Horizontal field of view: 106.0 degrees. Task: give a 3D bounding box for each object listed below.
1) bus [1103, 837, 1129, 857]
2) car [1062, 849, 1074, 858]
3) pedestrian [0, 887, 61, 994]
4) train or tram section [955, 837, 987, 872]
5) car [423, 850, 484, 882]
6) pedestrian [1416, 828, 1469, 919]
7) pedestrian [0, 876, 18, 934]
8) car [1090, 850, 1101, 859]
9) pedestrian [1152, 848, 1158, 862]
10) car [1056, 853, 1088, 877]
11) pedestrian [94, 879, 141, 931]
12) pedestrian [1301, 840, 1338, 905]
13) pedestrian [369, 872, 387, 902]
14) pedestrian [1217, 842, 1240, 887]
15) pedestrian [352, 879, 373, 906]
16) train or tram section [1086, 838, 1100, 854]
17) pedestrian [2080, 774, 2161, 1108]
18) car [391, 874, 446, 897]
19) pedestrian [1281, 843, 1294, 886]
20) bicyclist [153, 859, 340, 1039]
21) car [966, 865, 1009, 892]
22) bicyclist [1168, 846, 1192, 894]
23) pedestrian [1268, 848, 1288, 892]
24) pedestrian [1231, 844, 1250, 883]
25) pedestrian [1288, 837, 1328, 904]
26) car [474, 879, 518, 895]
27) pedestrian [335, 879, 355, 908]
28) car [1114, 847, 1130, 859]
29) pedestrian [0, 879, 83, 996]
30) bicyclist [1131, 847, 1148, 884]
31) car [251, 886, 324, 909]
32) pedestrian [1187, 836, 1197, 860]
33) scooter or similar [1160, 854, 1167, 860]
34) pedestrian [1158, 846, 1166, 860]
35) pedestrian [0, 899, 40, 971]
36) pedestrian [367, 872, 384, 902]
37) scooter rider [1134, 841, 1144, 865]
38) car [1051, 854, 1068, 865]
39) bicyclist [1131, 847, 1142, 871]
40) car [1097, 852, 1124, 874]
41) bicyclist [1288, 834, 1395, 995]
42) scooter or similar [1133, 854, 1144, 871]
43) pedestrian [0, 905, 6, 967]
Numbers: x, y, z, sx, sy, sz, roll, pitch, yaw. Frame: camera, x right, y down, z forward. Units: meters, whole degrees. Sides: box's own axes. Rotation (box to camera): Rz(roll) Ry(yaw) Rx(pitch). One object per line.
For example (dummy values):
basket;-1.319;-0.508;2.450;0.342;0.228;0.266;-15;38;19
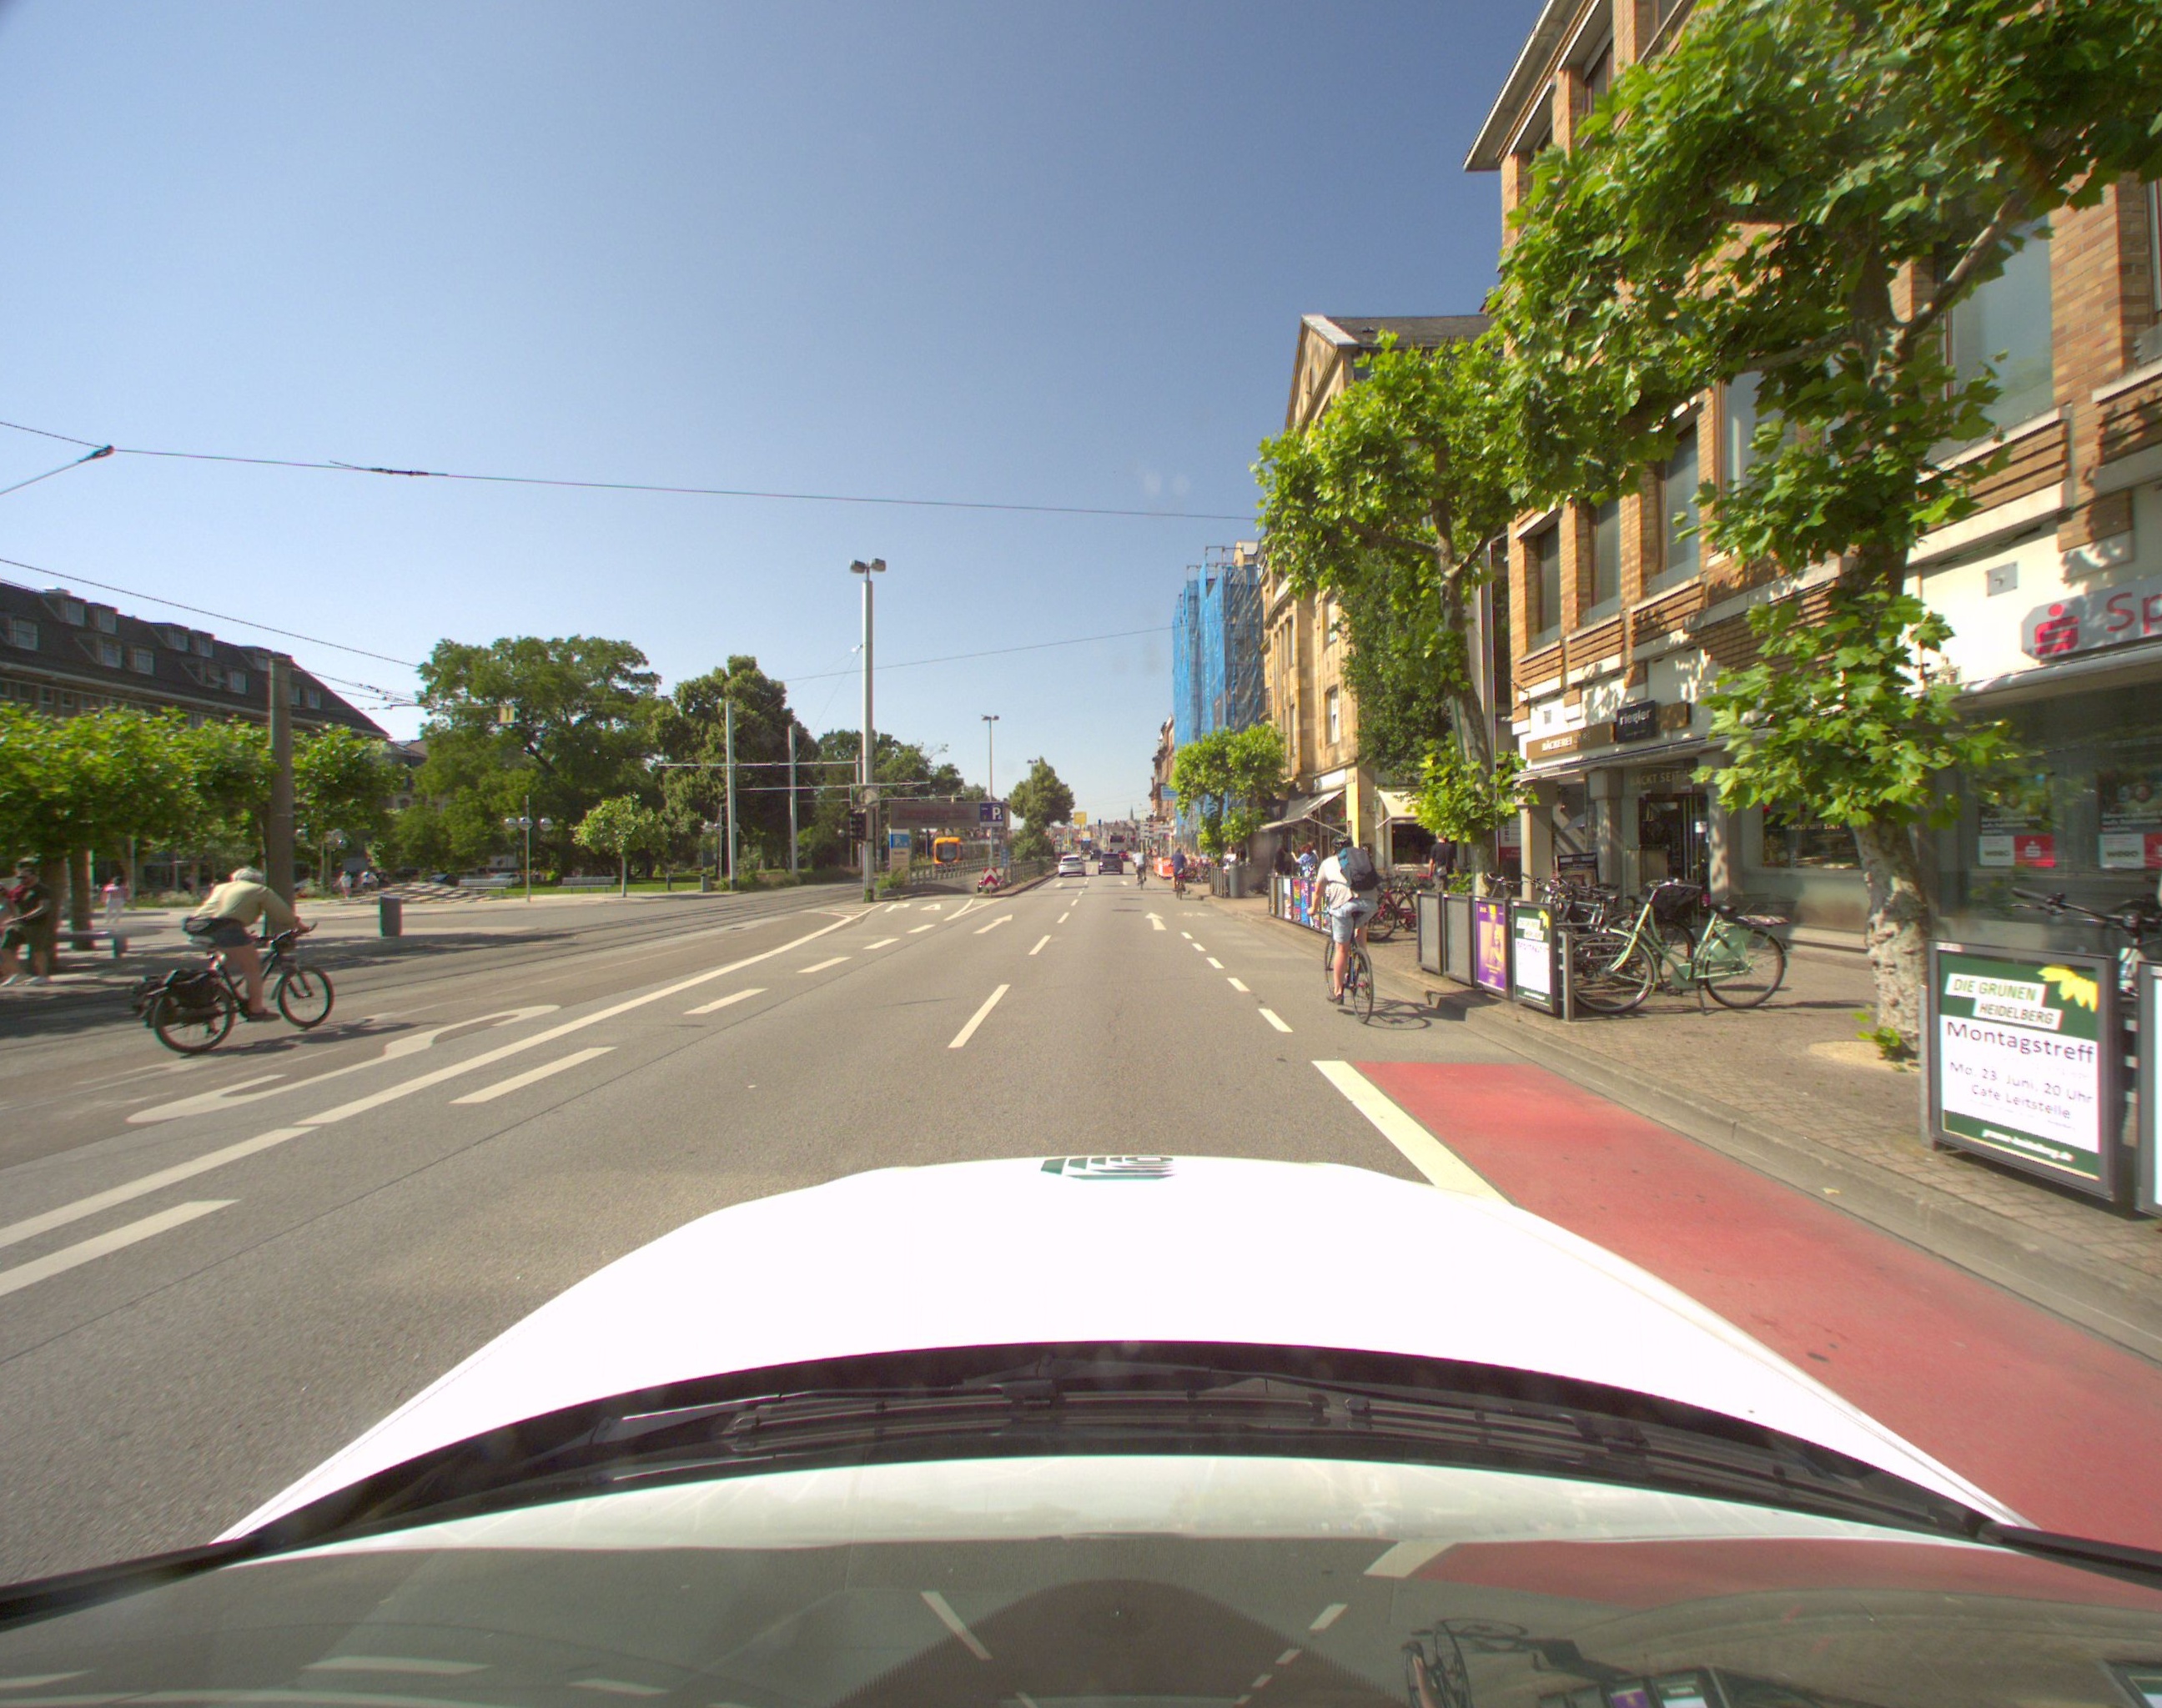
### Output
bus;5.148;-1.033;120.734;2.962;2.776;8.631;1;0;-3
car;-1.903;-0.040;117.751;1.446;1.300;4.003;1;0;3
pedestrian;-16.792;1.358;12.842;0.521;1.609;0.628;-4;1;11
train or tram section;-11.772;0.016;87.594;2.604;3.581;5.358;1;0;1
car;-66.852;1.253;86.904;2.119;3.316;5.421;1;0;1
pedestrian;7.294;0.384;16.475;0.664;1.781;0.986;-2;0;6
pedestrian;-38.178;1.801;28.606;0.625;2.007;0.737;-3;0;7
car;2.086;0.080;116.107;1.447;1.300;3.340;1;0;-1
pedestrian;8.630;0.111;94.797;0.652;1.620;0.815;-2;1;0
car;-0.593;0.715;55.854;1.851;1.507;4.003;-3;0;2
pedestrian;-33.296;1.746;28.154;0.674;1.706;0.706;-3;0;0
pedestrian;6.175;0.468;21.125;0.599;1.626;0.642;-4;0;-9
pedestrian;-39.041;1.815;45.245;0.450;1.609;0.466;-4;1;2
pedestrian;5.637;0.410;31.216;0.656;1.683;0.651;-1;-1;-9
pedestrian;-41.487;2.198;47.050;0.524;1.493;0.660;-4;1;-7
train or tram section;2.810;-1.797;187.795;2.810;3.581;8.235;1;0;4
pedestrian;5.627;0.429;3.975;0.647;1.633;0.734;0;0;17
car;-61.543;2.916;75.720;1.986;2.013;3.645;1;0;1
pedestrian;8.114;0.415;32.018;0.377;1.683;0.479;-3;-1;21
bicyclist;-8.167;0.888;8.023;0.814;1.622;0.903;-2;1;1
car;-5.743;1.466;50.478;1.985;1.508;4.003;1;0;2
bicyclist;3.381;0.538;27.894;0.686;1.616;0.918;1;0;0
pedestrian;7.680;0.622;31.713;0.535;1.683;0.498;-3;-1;-10
pedestrian;7.692;0.452;39.269;0.809;1.848;0.893;-3;-1;9
pedestrian;5.727;0.411;20.574;0.695;1.626;0.700;-3;0;-9
car;-59.231;3.341;82.591;1.752;1.508;3.994;1;0;-4
pedestrian;-42.331;2.258;46.836;0.492;1.609;0.619;-4;1;-8
car;5.204;-0.073;104.515;1.985;1.492;4.003;1;0;2
pedestrian;-16.188;1.279;12.695;0.528;1.733;0.582;-4;1;-29
bicyclist;2.539;0.510;35.402;0.686;1.576;1.049;1;0;0
car;-60.013;3.283;61.713;1.752;1.508;3.994;1;0;-4
pedestrian;8.264;-0.426;60.641;0.637;1.776;0.649;1;0;1
scooter or similar;9.829;0.361;97.295;0.689;0.650;0.565;-5;0;0
pedestrian;9.736;-0.096;97.867;0.753;1.656;0.837;-5;-1;0
pedestrian;-19.717;1.490;14.745;0.674;1.246;0.751;-4;1;-5
pedestrian;-39.564;1.861;45.689;0.413;1.609;0.493;-4;1;-8
scooter rider;4.173;-0.065;59.026;0.686;1.729;0.778;1;0;1
car;-2.681;0.679;102.964;1.808;1.332;4.003;1;0;2
bicyclist;3.789;0.349;55.780;0.686;1.576;1.049;1;0;0
car;2.125;0.649;58.257;1.866;1.492;4.003;1;0;2
bicyclist;2.526;0.553;8.024;0.686;1.463;1.143;1;0;0
scooter or similar;4.149;0.593;58.988;0.686;1.167;1.464;1;0;2
pedestrian;-20.833;1.583;15.114;0.674;1.171;0.751;-4;1;-5
